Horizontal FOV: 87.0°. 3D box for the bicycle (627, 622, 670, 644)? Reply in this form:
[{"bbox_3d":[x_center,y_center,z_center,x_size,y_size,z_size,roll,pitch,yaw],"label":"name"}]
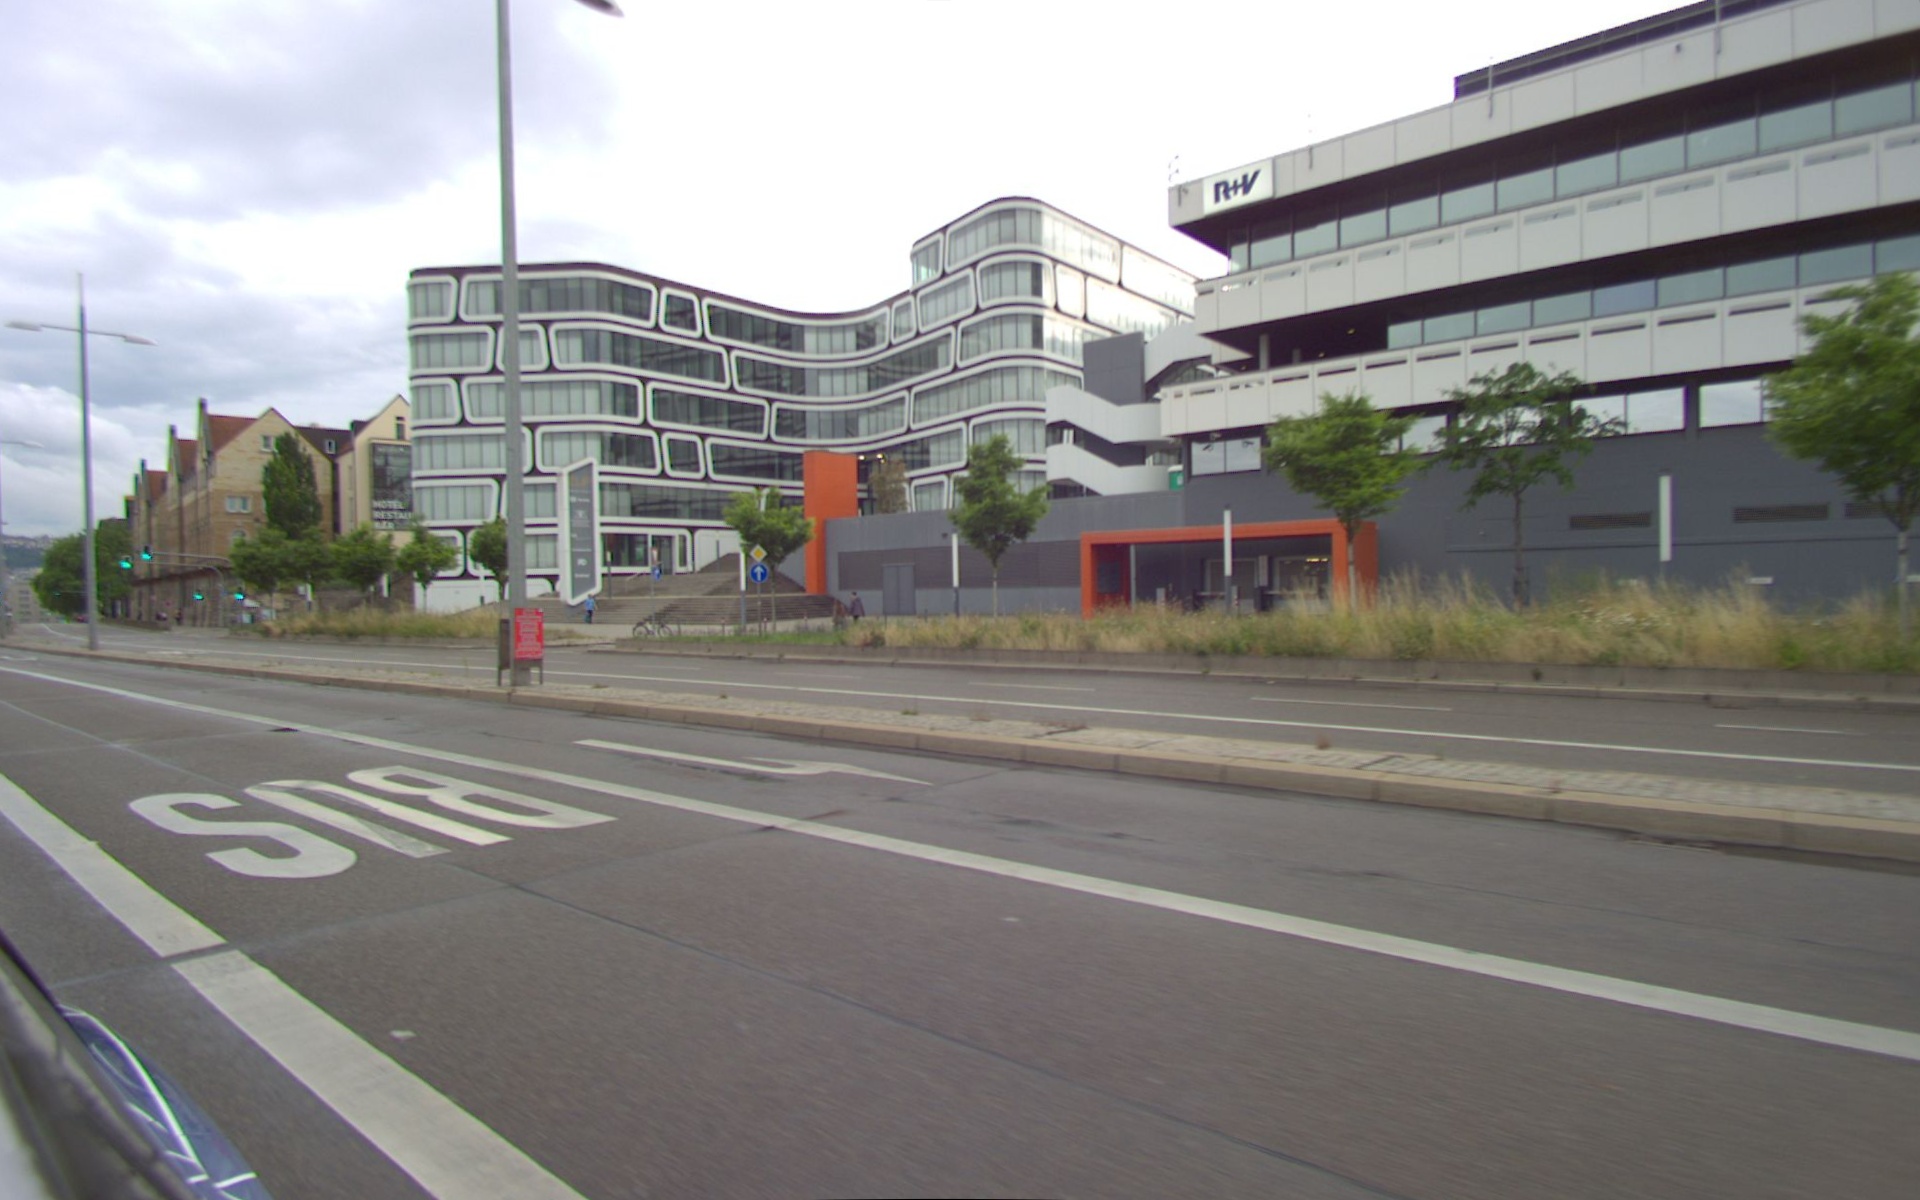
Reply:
[{"bbox_3d":[-12.978,1.378,42.173,1.638,0.864,0.608,0,0,8],"label":"bicycle"}]

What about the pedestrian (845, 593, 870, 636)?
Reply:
[{"bbox_3d":[-4.064,0.570,40.195,0.798,1.670,0.611,0,0,42],"label":"pedestrian"}]

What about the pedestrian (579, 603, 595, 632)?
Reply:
[{"bbox_3d":[-21.053,0.964,57.088,0.640,1.623,0.604,0,1,44],"label":"pedestrian"}]

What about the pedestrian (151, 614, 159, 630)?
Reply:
[{"bbox_3d":[-94.396,2.596,118.658,0.668,1.792,0.684,0,0,-43],"label":"pedestrian"}]

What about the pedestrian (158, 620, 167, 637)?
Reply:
[{"bbox_3d":[-84.993,3.044,107.840,0.668,1.792,0.684,0,0,-43],"label":"pedestrian"}]

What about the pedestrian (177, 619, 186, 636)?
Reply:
[{"bbox_3d":[-80.625,2.862,104.767,0.668,1.792,0.684,0,0,-43],"label":"pedestrian"}]

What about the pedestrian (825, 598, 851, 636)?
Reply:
[{"bbox_3d":[-4.745,0.645,39.358,0.798,1.457,0.611,0,0,42],"label":"pedestrian"}]

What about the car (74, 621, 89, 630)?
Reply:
[{"bbox_3d":[-143.106,4.165,164.860,1.690,1.475,4.004,-2,0,-43],"label":"car"}]
